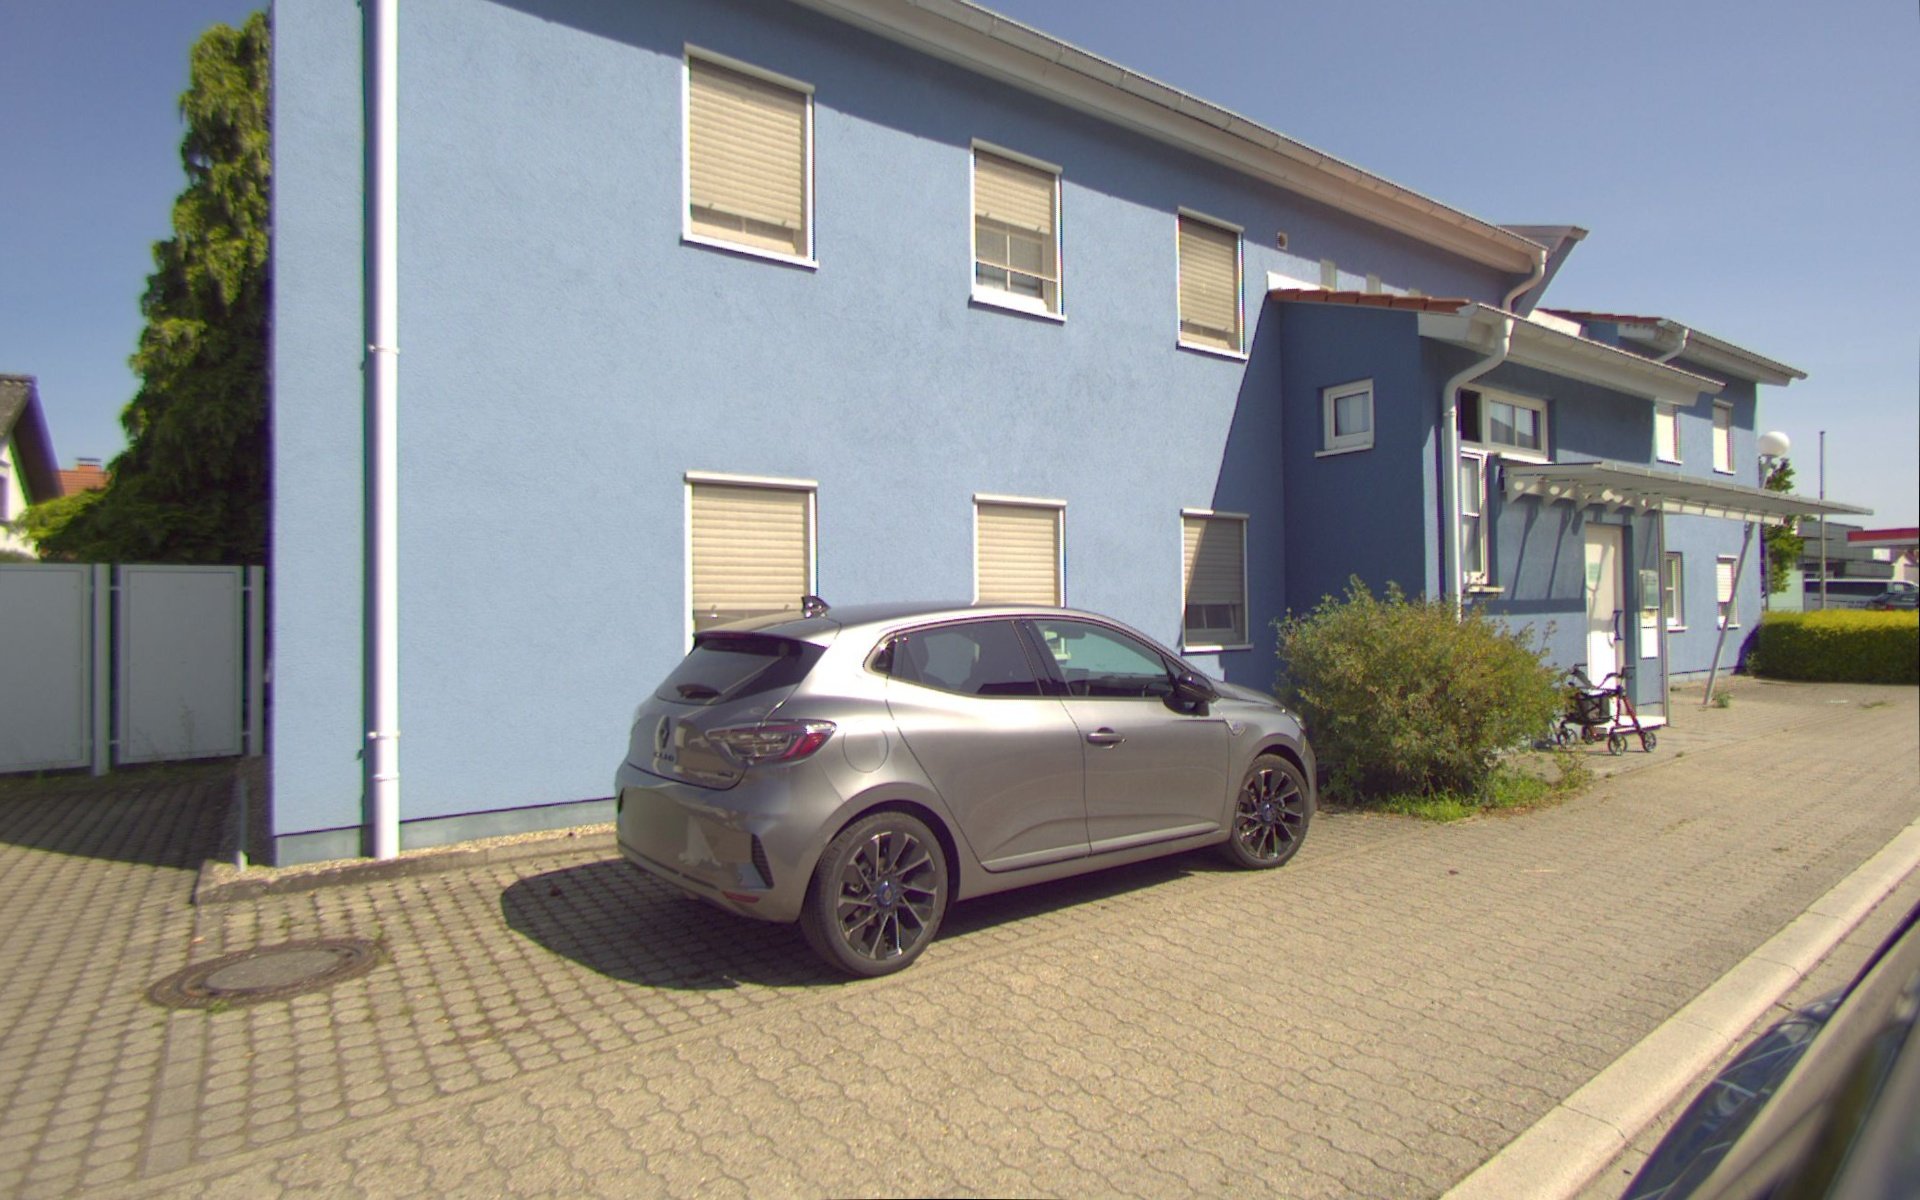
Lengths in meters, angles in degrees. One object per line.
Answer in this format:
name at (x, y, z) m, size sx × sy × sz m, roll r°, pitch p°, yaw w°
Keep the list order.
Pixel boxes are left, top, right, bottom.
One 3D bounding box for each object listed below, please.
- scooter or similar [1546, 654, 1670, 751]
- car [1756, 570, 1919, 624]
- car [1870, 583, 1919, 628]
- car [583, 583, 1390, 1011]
scooter or similar at (6.282, 0.972, 9.824) m, size 0.811 × 0.825 × 0.730 m, roll -1°, pitch 0°, yaw -32°
car at (35.349, -0.100, 40.623) m, size 5.258 × 2.039 × 2.201 m, roll 0°, pitch 0°, yaw 38°
car at (35.504, 0.183, 35.974) m, size 4.276 × 1.570 × 1.965 m, roll 0°, pitch 0°, yaw 28°
car at (0.344, 0.665, 5.338) m, size 4.068 × 1.438 × 1.694 m, roll -1°, pitch -1°, yaw -37°
